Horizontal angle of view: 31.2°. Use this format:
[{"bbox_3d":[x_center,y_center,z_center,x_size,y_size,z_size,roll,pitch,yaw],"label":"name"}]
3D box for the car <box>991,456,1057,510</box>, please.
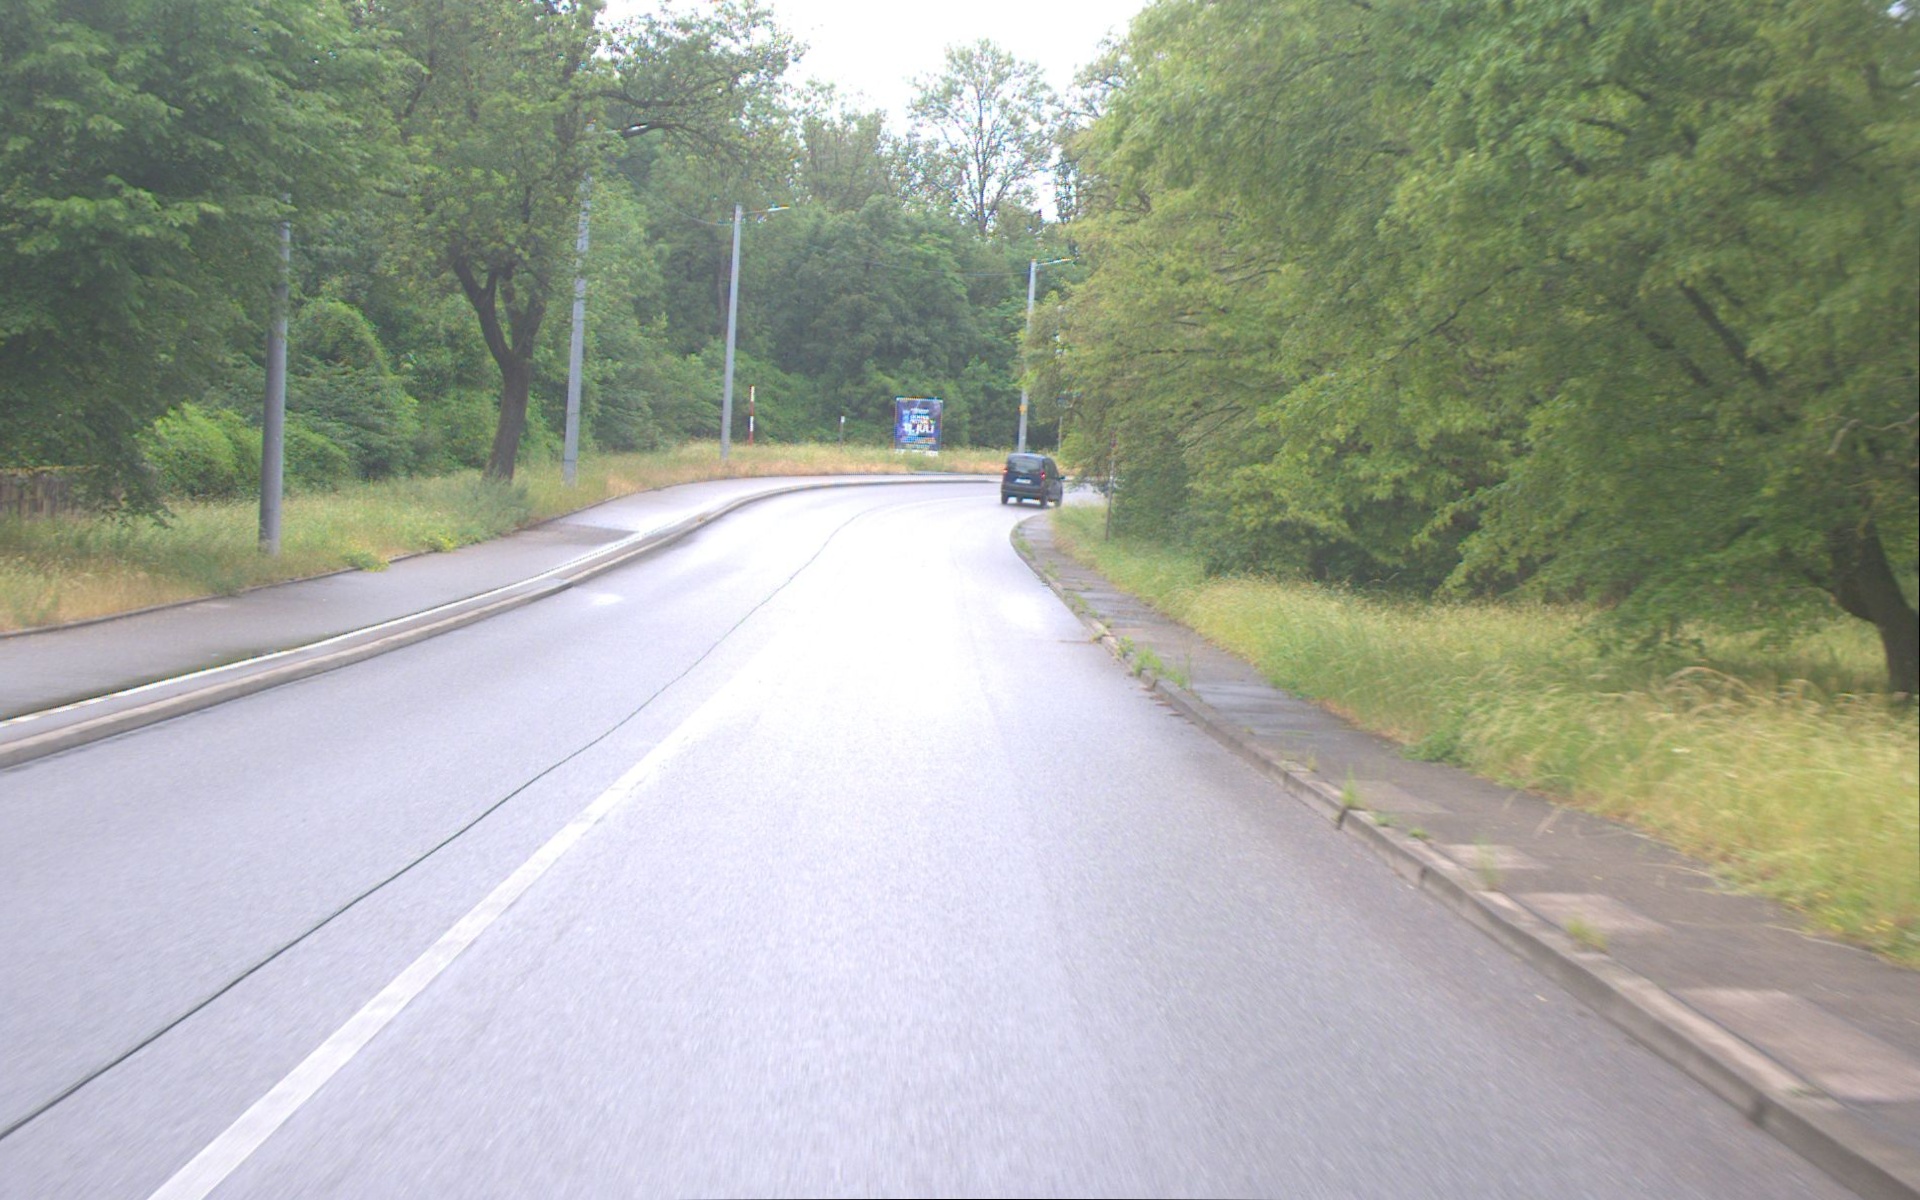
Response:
[{"bbox_3d":[2.287,-4.149,122.306,1.742,1.711,3.999,4,1,9],"label":"car"}]
